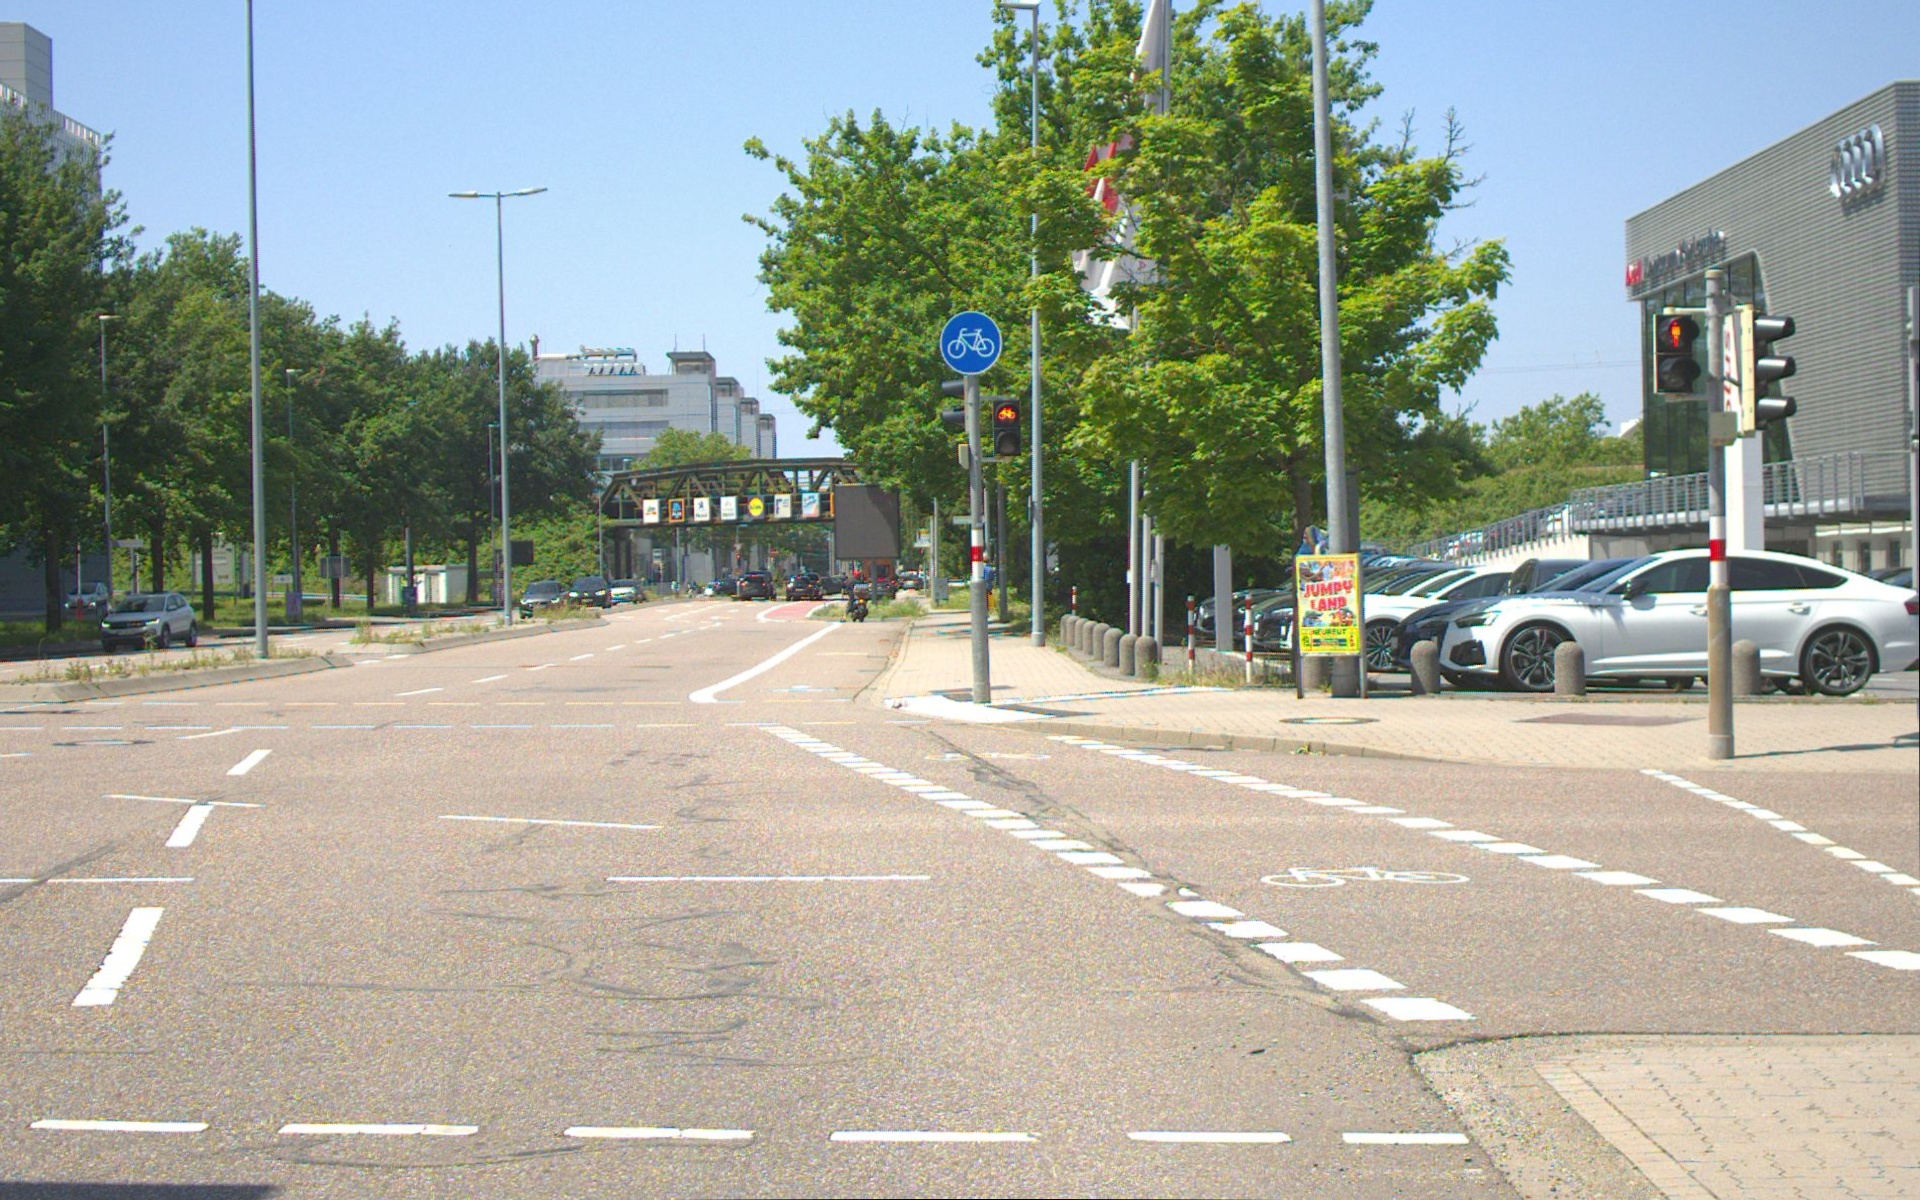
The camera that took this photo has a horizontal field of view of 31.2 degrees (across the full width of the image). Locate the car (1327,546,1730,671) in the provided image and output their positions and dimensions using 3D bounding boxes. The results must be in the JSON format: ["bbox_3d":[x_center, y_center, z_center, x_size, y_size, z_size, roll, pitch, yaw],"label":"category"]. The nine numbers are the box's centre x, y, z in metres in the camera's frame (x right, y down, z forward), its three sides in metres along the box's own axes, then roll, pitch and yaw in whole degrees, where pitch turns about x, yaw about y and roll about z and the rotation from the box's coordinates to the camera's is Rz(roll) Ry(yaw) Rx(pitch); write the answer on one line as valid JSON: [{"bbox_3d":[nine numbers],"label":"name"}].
[{"bbox_3d":[7.186,0.090,43.768,4.741,1.452,2.000,-1,1,-2],"label":"car"}]

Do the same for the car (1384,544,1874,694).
[{"bbox_3d":[6.912,0.195,35.911,4.741,1.452,2.000,-1,0,2],"label":"car"}]

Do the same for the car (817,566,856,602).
[{"bbox_3d":[-3.785,-0.493,105.419,1.137,1.038,2.308,-1,1,-1],"label":"car"}]

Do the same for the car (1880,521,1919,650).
[{"bbox_3d":[16.818,-0.277,54.359,3.987,2.007,2.000,-1,1,1],"label":"car"}]

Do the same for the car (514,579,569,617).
[{"bbox_3d":[-16.960,-0.088,139.428,1.732,1.422,3.706,-3,0,-1],"label":"car"}]

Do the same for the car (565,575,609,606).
[{"bbox_3d":[-17.548,-0.455,161.854,1.684,1.406,3.665,-1,0,-1],"label":"car"}]

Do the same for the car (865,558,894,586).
[{"bbox_3d":[-5.136,-1.811,220.808,1.772,1.722,4.000,-1,0,-1],"label":"car"}]

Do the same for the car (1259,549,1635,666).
[{"bbox_3d":[6.538,0.083,46.539,4.741,1.452,2.000,-1,1,-2],"label":"car"}]

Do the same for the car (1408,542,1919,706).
[{"bbox_3d":[6.827,0.208,33.239,4.741,1.452,2.000,-1,1,2],"label":"car"}]

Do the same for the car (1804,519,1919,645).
[{"bbox_3d":[16.117,-0.334,56.465,3.987,2.007,2.000,-1,1,1],"label":"car"}]

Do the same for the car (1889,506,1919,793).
[{"bbox_3d":[7.610,0.256,18.649,4.680,1.583,2.000,0,0,5],"label":"car"}]

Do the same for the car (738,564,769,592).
[{"bbox_3d":[-13.432,-1.431,224.175,1.772,1.722,4.000,-1,0,-1],"label":"car"}]

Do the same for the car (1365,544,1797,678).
[{"bbox_3d":[7.250,0.115,40.499,4.741,1.452,2.000,-1,1,2],"label":"car"}]

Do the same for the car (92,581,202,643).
[{"bbox_3d":[-22.780,0.322,96.467,1.927,1.659,4.088,-1,0,2],"label":"car"}]

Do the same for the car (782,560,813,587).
[{"bbox_3d":[-10.397,-1.693,220.028,1.772,1.722,4.000,-1,0,-1],"label":"car"}]

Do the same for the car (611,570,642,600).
[{"bbox_3d":[-19.248,-0.872,198.520,1.648,1.647,4.164,-1,1,-5],"label":"car"}]

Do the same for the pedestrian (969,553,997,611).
[{"bbox_3d":[0.600,-0.466,89.868,0.668,1.505,0.736,-1,1,-1],"label":"pedestrian"}]

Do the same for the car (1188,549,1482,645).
[{"bbox_3d":[6.394,-0.066,58.946,4.741,1.452,2.000,-2,1,-2],"label":"car"}]
